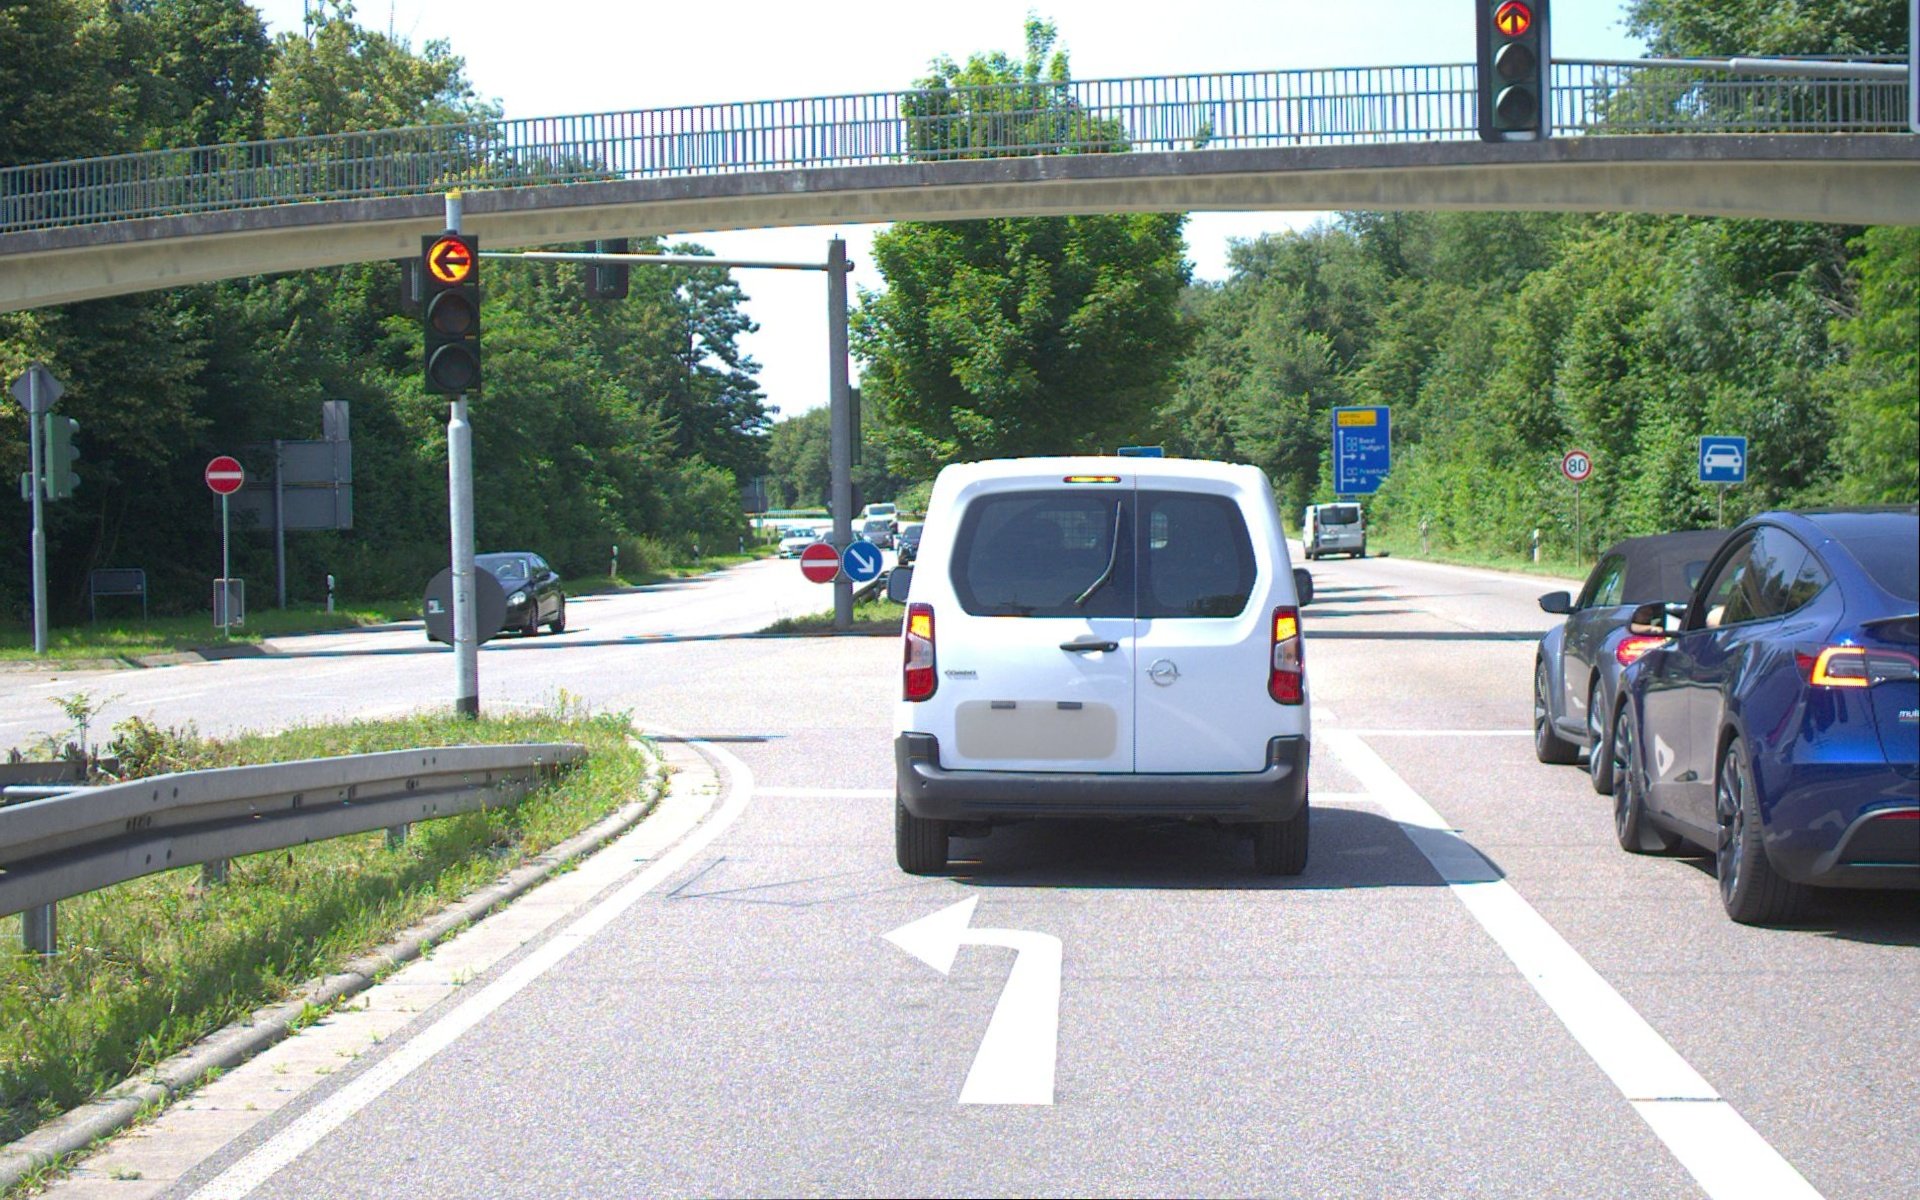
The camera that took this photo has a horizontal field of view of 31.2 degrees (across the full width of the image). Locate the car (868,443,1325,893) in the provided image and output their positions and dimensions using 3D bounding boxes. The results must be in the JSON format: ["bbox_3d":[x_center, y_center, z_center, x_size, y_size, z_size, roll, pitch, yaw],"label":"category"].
[{"bbox_3d":[0.649,0.208,16.104,1.849,1.819,3.981,1,2,3],"label":"car"}]

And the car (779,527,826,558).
[{"bbox_3d":[-7.464,-2.731,163.339,1.753,1.402,4.000,-1,1,4],"label":"car"}]

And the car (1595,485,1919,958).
[{"bbox_3d":[3.872,0.377,14.187,1.900,1.639,4.520,1,1,3],"label":"car"}]

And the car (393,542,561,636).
[{"bbox_3d":[-8.175,-0.221,58.497,2.008,1.455,4.055,-2,1,3],"label":"car"}]

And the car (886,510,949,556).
[{"bbox_3d":[-1.575,-2.488,128.244,1.994,1.678,3.999,1,1,4],"label":"car"}]

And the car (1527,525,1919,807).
[{"bbox_3d":[4.537,0.313,20.373,1.900,1.472,3.939,1,1,3],"label":"car"}]
